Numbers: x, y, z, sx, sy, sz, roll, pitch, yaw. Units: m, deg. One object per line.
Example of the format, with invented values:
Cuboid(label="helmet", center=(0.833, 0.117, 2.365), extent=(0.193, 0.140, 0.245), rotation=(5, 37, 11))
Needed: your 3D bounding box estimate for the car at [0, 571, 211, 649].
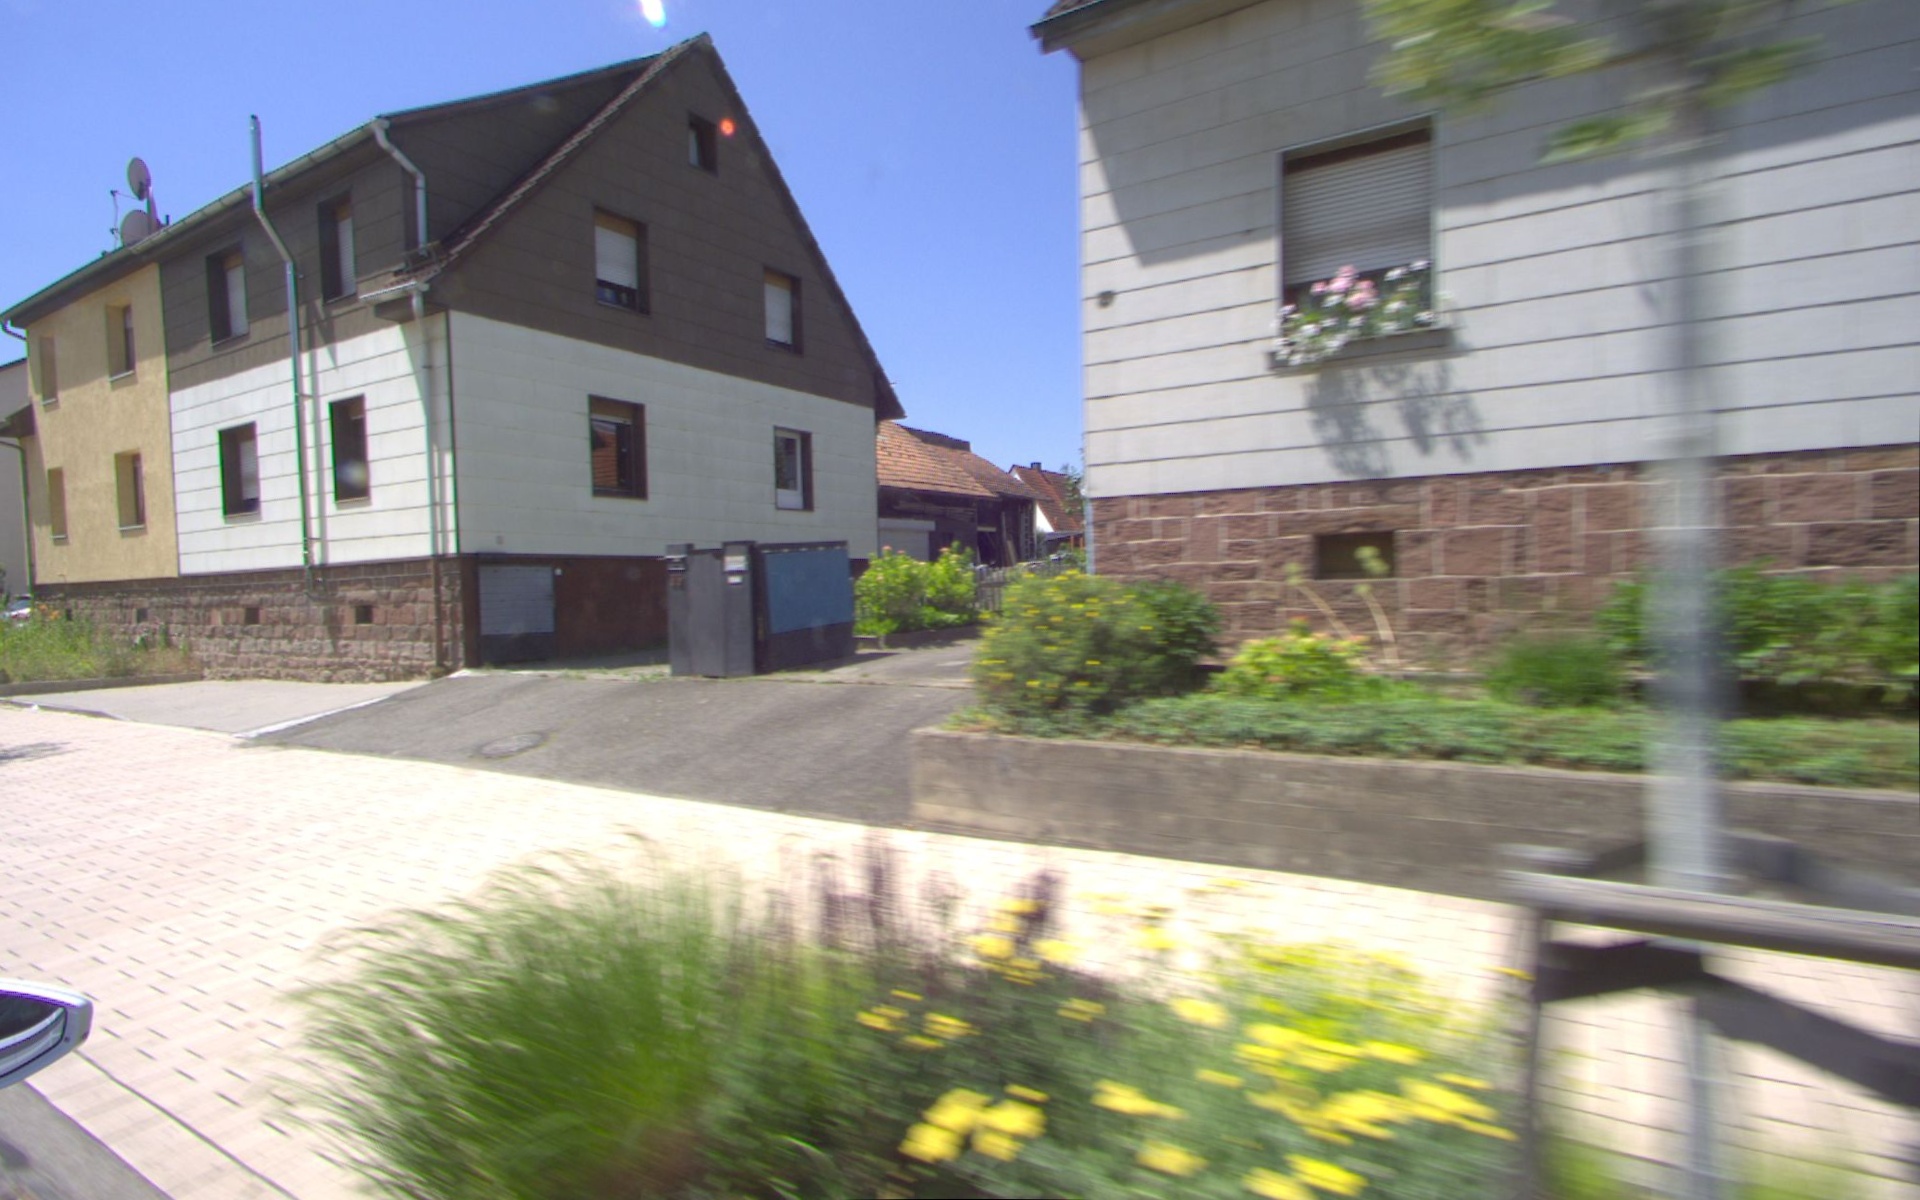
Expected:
Cuboid(label="car", center=(-22.284, 0.201, 26.078), extent=(1.847, 1.700, 3.977), rotation=(-1, 4, 31))
